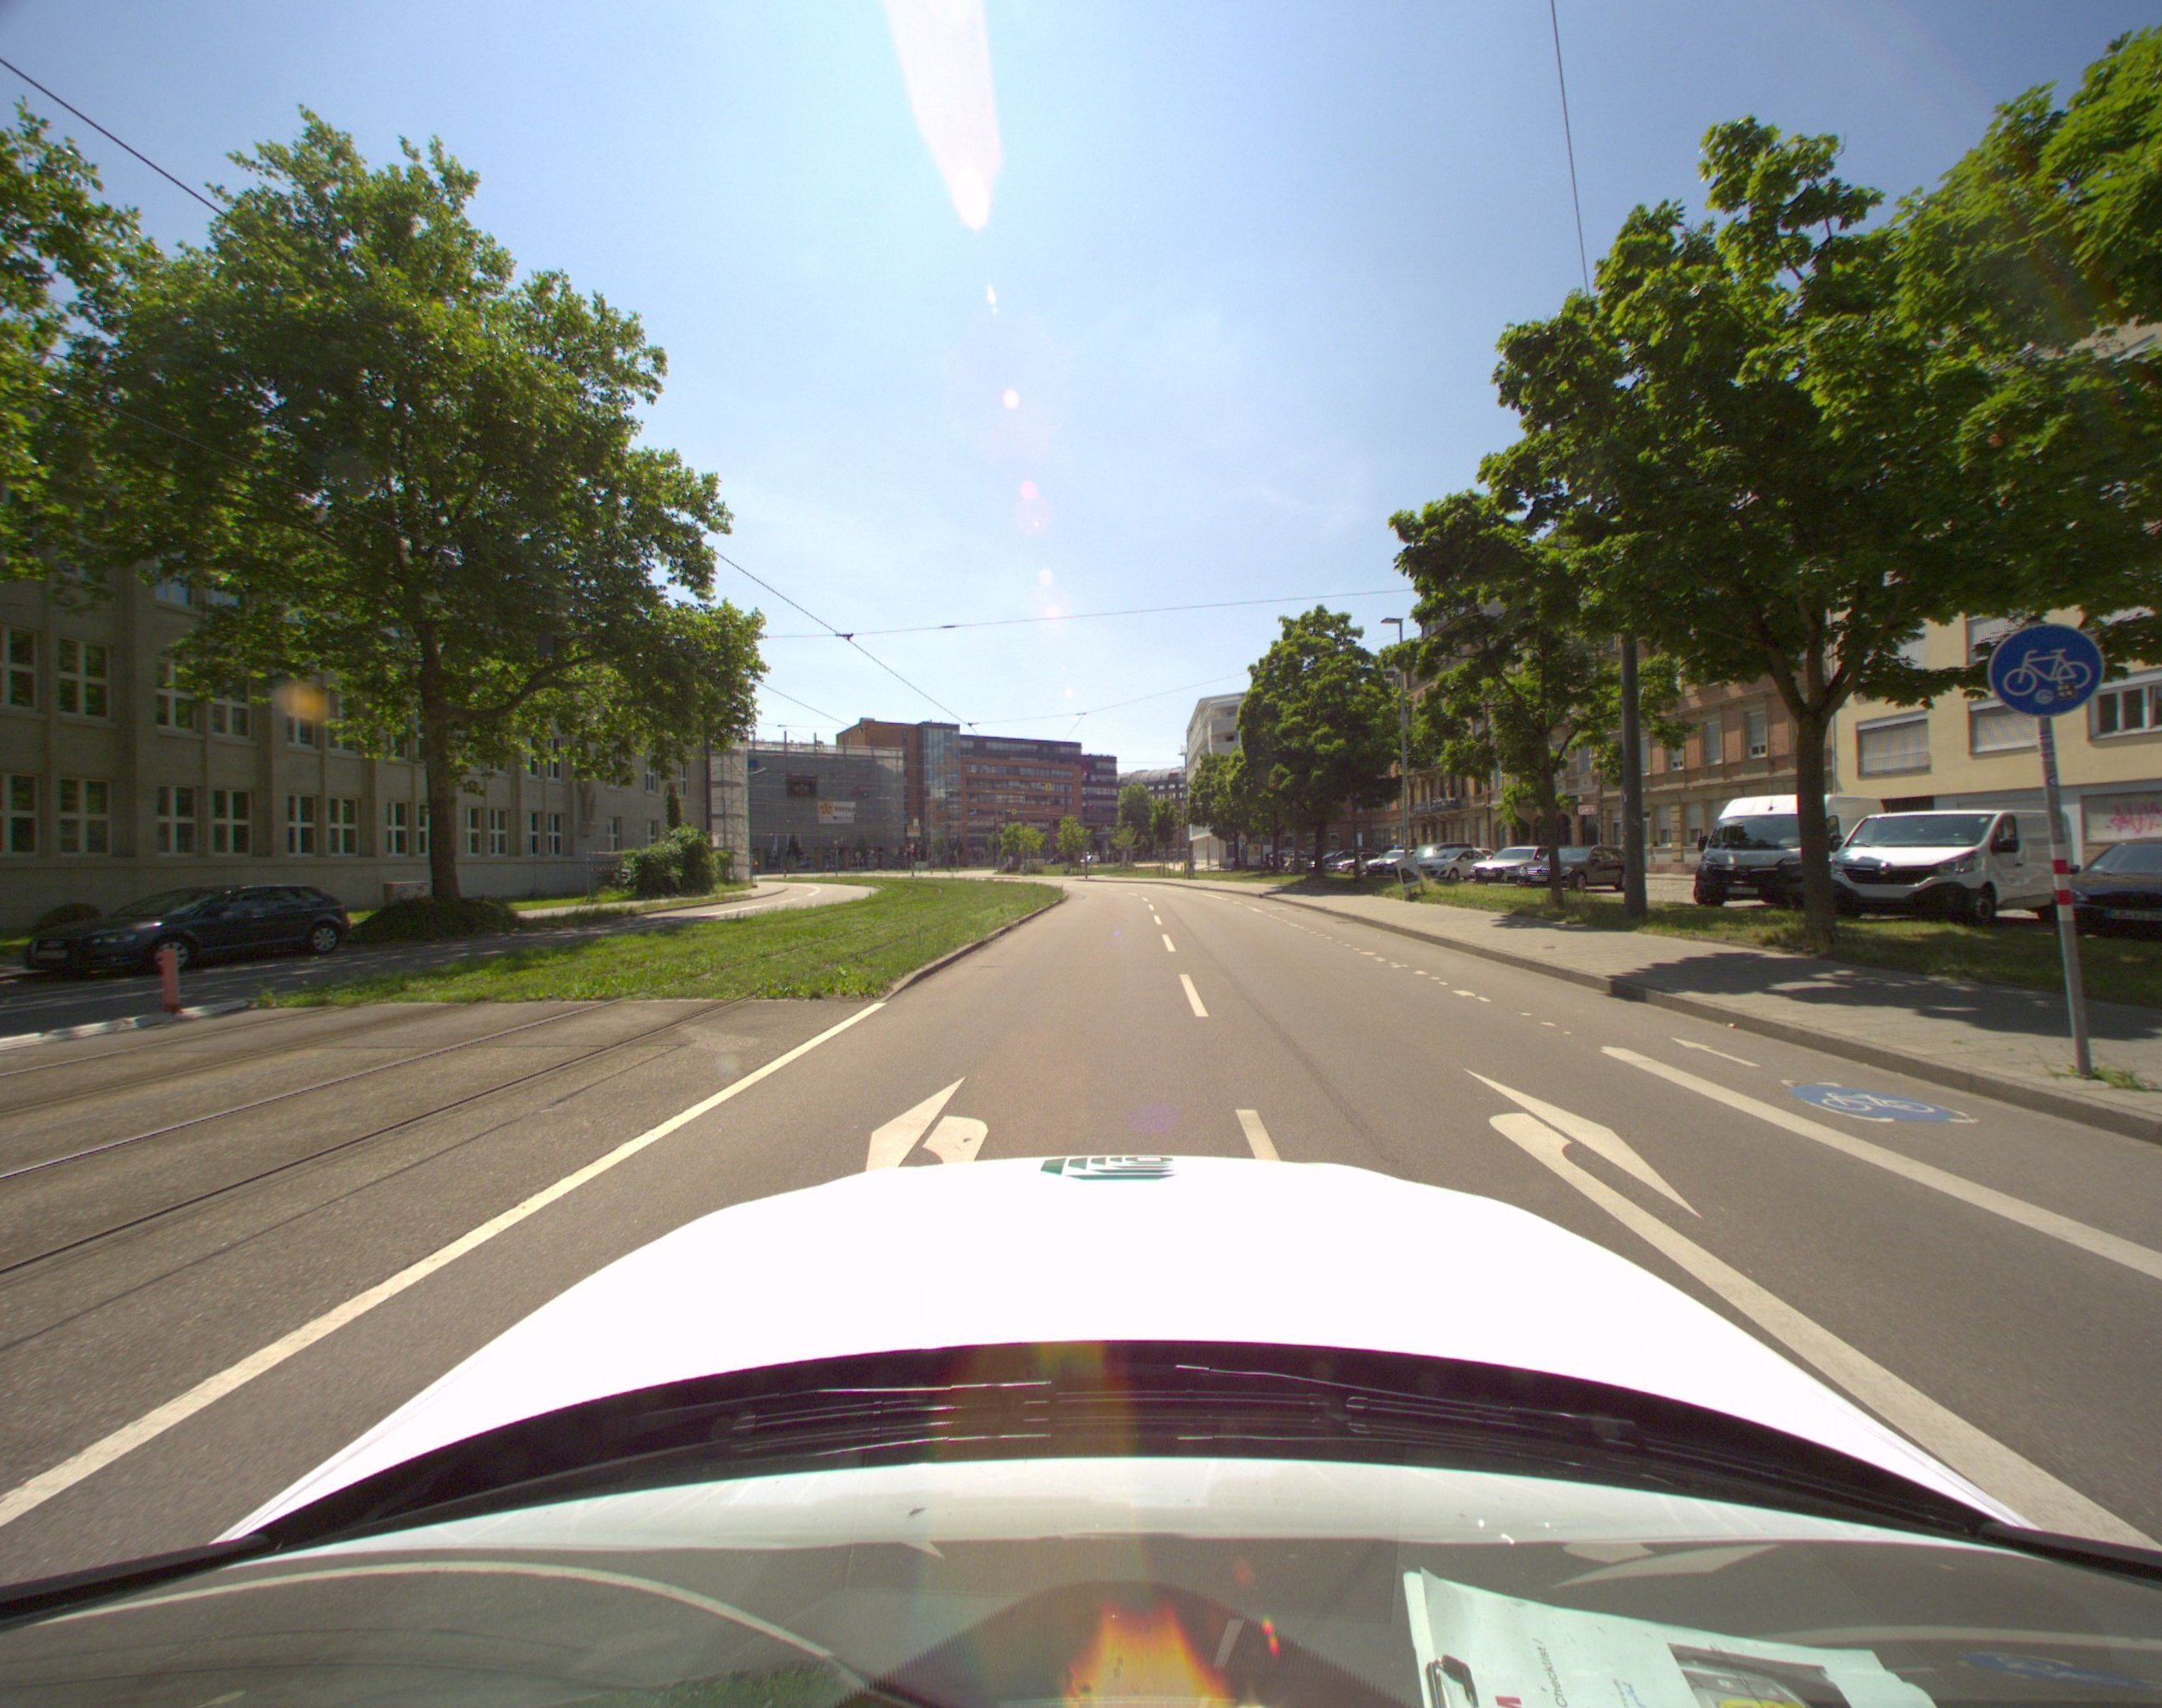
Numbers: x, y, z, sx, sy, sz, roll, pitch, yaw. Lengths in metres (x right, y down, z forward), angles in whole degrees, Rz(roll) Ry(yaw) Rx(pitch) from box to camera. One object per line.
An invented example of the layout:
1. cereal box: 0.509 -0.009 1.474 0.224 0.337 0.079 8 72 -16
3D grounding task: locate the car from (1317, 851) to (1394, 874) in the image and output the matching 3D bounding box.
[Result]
1. car: 16.314 0.484 48.424 3.999 1.313 1.960 0 -1 -19

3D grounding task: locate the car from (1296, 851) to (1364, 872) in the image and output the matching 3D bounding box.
1. car: 16.517 0.472 54.019 4.352 1.376 1.570 0 -1 -23

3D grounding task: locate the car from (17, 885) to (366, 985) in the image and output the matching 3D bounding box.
1. car: -15.695 1.336 14.797 1.583 1.424 4.322 0 0 0

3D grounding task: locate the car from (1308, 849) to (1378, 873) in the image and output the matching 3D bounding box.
1. car: 16.587 0.465 51.487 4.098 1.470 1.783 0 -1 -24

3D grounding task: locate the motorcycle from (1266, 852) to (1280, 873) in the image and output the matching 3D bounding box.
1. motorcycle: 13.822 0.611 58.634 0.672 1.413 1.859 -2 0 5

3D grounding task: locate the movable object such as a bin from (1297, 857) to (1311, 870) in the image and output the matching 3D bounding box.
1. movable object such as a bin: 16.422 0.710 59.987 0.979 0.937 0.704 0 -1 14

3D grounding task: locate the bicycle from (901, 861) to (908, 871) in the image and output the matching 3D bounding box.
1. bicycle: -34.073 2.314 157.084 0.603 1.731 2.237 0 -1 -33

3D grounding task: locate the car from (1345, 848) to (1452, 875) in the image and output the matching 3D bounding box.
1. car: 15.890 0.352 40.785 4.786 1.313 2.136 0 -1 -19

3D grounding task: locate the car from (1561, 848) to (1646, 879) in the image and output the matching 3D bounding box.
1. car: 24.521 0.443 38.386 1.772 1.420 3.718 0 0 3

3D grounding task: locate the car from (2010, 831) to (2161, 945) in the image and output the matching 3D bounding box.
1. car: 14.873 0.411 10.891 3.998 1.387 1.813 0 -1 -18

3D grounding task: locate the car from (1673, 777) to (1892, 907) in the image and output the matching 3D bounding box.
1. car: 15.456 -0.209 17.846 5.573 2.460 2.215 0 -1 -34

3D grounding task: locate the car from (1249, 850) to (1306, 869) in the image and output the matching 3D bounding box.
1. car: 17.477 0.475 72.494 4.881 1.601 1.821 0 -1 -24

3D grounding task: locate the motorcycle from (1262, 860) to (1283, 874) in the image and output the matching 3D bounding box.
1. motorcycle: 14.592 0.983 62.139 1.514 1.120 0.478 0 -1 2

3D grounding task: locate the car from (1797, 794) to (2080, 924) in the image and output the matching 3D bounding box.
1. car: 15.131 0.090 14.345 4.857 1.973 2.059 0 -1 -26

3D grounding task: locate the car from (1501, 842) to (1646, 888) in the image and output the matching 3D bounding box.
1. car: 15.490 0.340 25.575 4.444 1.338 1.954 0 -1 -29

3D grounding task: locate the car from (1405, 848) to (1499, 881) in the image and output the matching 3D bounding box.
1. car: 16.201 0.442 35.496 4.011 1.400 1.696 0 -1 -29

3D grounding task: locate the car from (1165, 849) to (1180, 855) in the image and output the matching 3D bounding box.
1. car: 27.575 -0.575 245.285 3.948 1.728 1.878 -1 -1 34

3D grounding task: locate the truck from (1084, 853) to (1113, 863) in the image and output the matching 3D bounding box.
1. truck: 5.178 1.233 239.875 9.120 2.809 2.013 -1 -1 35

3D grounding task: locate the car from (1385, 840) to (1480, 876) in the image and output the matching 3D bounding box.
1. car: 16.668 0.194 38.627 4.004 1.662 1.957 0 -1 -23

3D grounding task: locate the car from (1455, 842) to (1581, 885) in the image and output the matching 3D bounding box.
1. car: 15.625 0.316 29.043 4.710 1.427 1.952 0 -1 -34

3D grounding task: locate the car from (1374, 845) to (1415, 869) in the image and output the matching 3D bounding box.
1. car: 25.986 0.267 67.620 1.911 1.904 4.658 0 0 4
